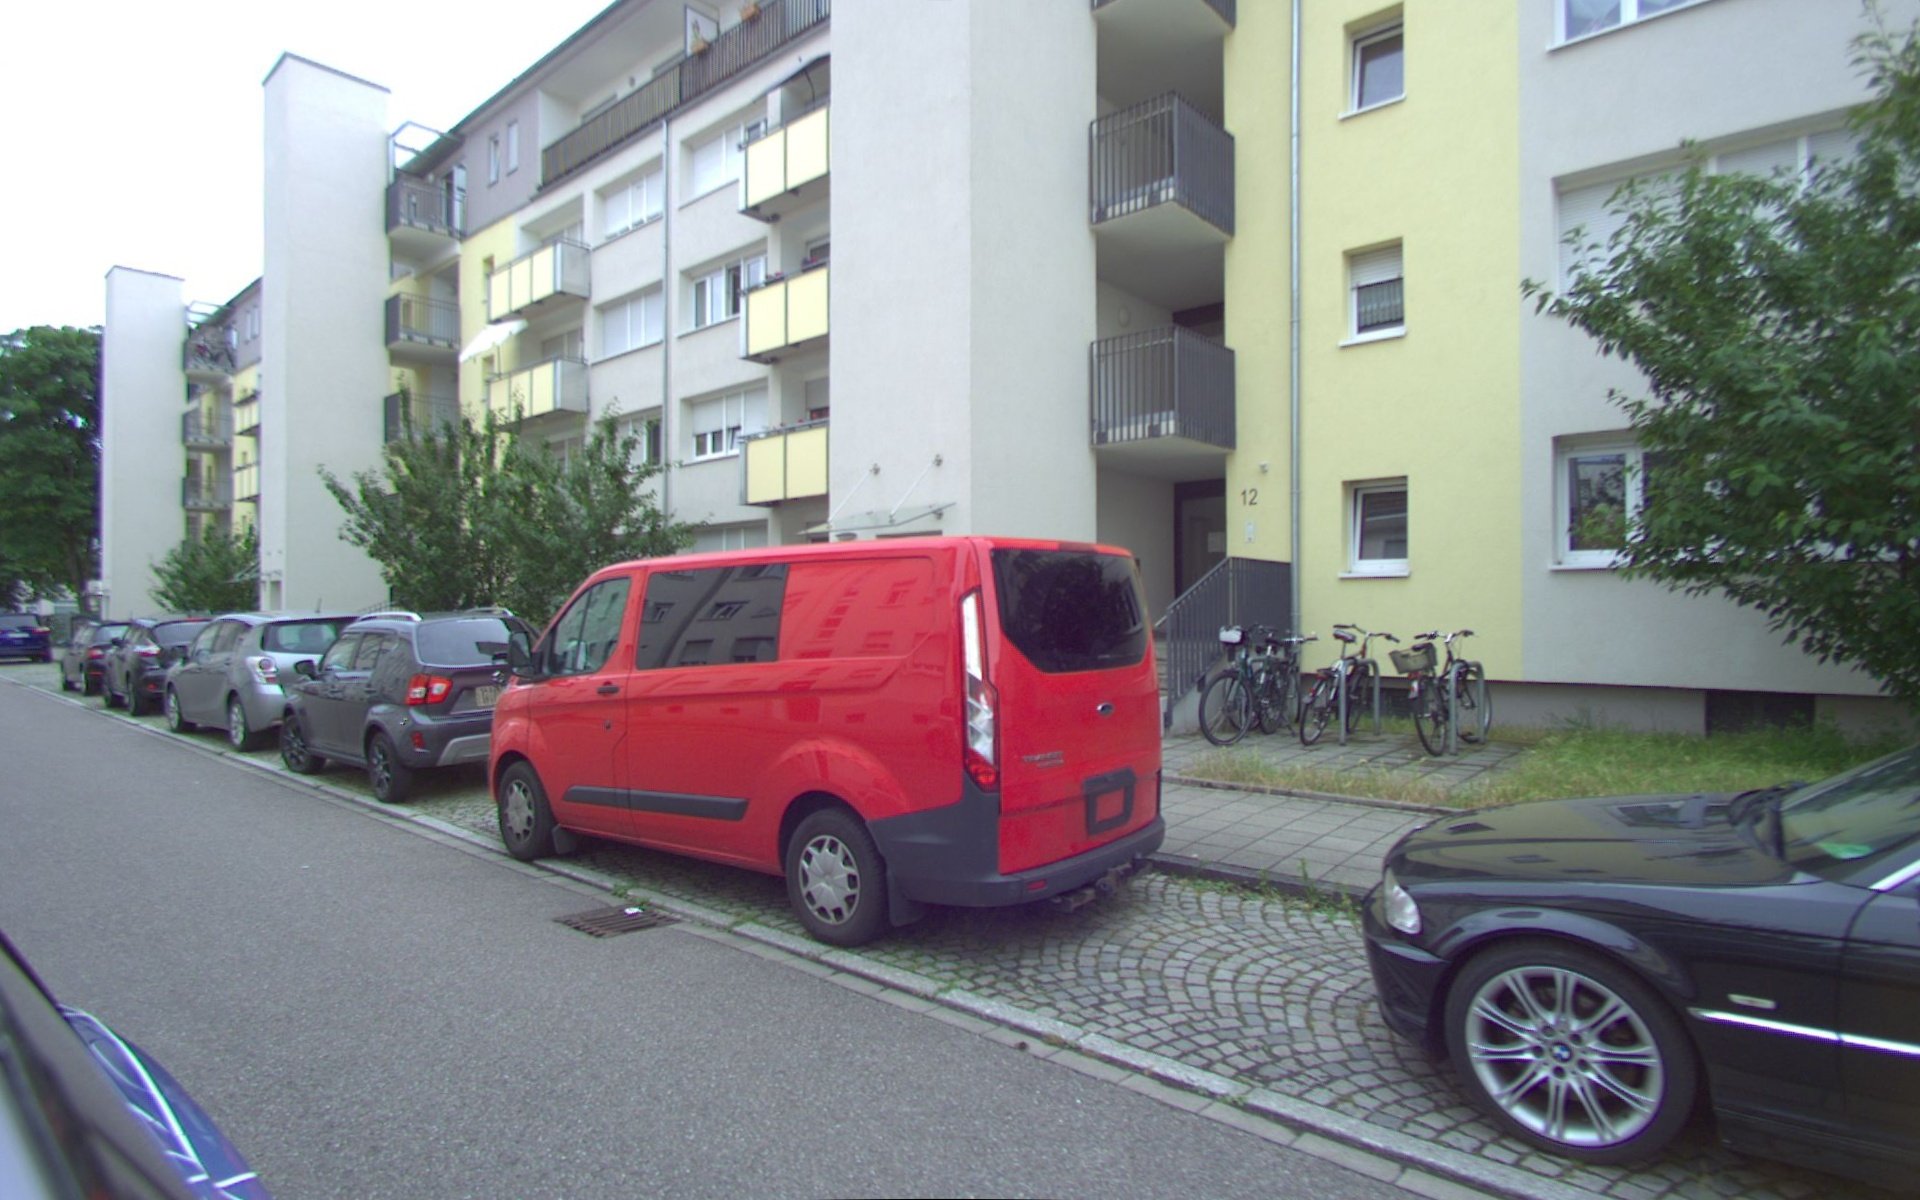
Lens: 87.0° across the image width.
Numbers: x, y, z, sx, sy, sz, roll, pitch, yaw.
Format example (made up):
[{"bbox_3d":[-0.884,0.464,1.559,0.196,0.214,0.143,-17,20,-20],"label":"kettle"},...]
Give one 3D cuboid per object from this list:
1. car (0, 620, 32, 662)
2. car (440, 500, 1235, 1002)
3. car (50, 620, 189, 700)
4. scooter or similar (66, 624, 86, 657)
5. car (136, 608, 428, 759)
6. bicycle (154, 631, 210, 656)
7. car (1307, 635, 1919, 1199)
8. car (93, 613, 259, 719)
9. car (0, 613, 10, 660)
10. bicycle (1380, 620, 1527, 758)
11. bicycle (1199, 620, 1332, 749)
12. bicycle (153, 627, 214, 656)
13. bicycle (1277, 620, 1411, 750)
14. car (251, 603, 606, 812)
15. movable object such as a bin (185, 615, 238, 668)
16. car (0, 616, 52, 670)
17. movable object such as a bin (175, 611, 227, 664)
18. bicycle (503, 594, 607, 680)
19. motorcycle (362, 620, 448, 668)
[{"bbox_3d":[-35.435,1.494,37.018,3.813,1.456,1.605,-1,0,38],"label":"car"},{"bbox_3d":[-1.051,0.603,6.360,4.916,1.968,2.130,-1,1,39],"label":"car"},{"bbox_3d":[-17.506,1.167,21.019,3.855,1.449,1.626,-1,1,41],"label":"car"},{"bbox_3d":[-34.661,1.587,39.660,1.135,1.253,0.432,-1,-2,41],"label":"scooter or similar"},{"bbox_3d":[-8.991,0.953,13.241,4.856,1.582,1.817,-1,1,39],"label":"car"},{"bbox_3d":[-32.744,1.831,42.609,1.829,1.028,0.671,1,-2,-42],"label":"bicycle"},{"bbox_3d":[3.378,0.815,2.559,4.358,1.333,1.851,-1,0,40],"label":"car"},{"bbox_3d":[-13.394,1.035,17.205,3.895,1.542,1.635,-1,1,44],"label":"car"},{"bbox_3d":[-40.303,1.480,41.186,4.782,1.869,1.867,-1,-1,41],"label":"car"},{"bbox_3d":[4.541,0.759,9.256,1.812,1.127,0.571,0,-1,-43],"label":"bicycle"},{"bbox_3d":[3.077,0.788,10.082,0.604,1.127,1.816,-1,0,40],"label":"bicycle"},{"bbox_3d":[-31.291,1.650,40.796,0.716,1.146,1.834,-1,-2,38],"label":"bicycle"},{"bbox_3d":[3.775,0.772,9.861,0.570,1.127,1.814,-1,-1,43],"label":"bicycle"},{"bbox_3d":[-5.297,0.863,9.858,4.052,1.582,1.703,-1,1,41],"label":"car"},{"bbox_3d":[-21.638,1.186,29.264,1.314,1.458,0.991,-1,0,42],"label":"movable object such as a bin"},{"bbox_3d":[-31.100,1.385,32.963,4.470,1.639,1.781,-1,0,41],"label":"car"},{"bbox_3d":[-22.676,1.103,30.231,1.314,1.512,0.991,-1,0,42],"label":"movable object such as a bin"},{"bbox_3d":[-5.976,0.533,14.906,1.724,1.201,0.547,-1,-2,34],"label":"bicycle"},{"bbox_3d":[-13.474,1.063,24.604,0.593,1.138,1.732,-1,-2,37],"label":"motorcycle"}]
